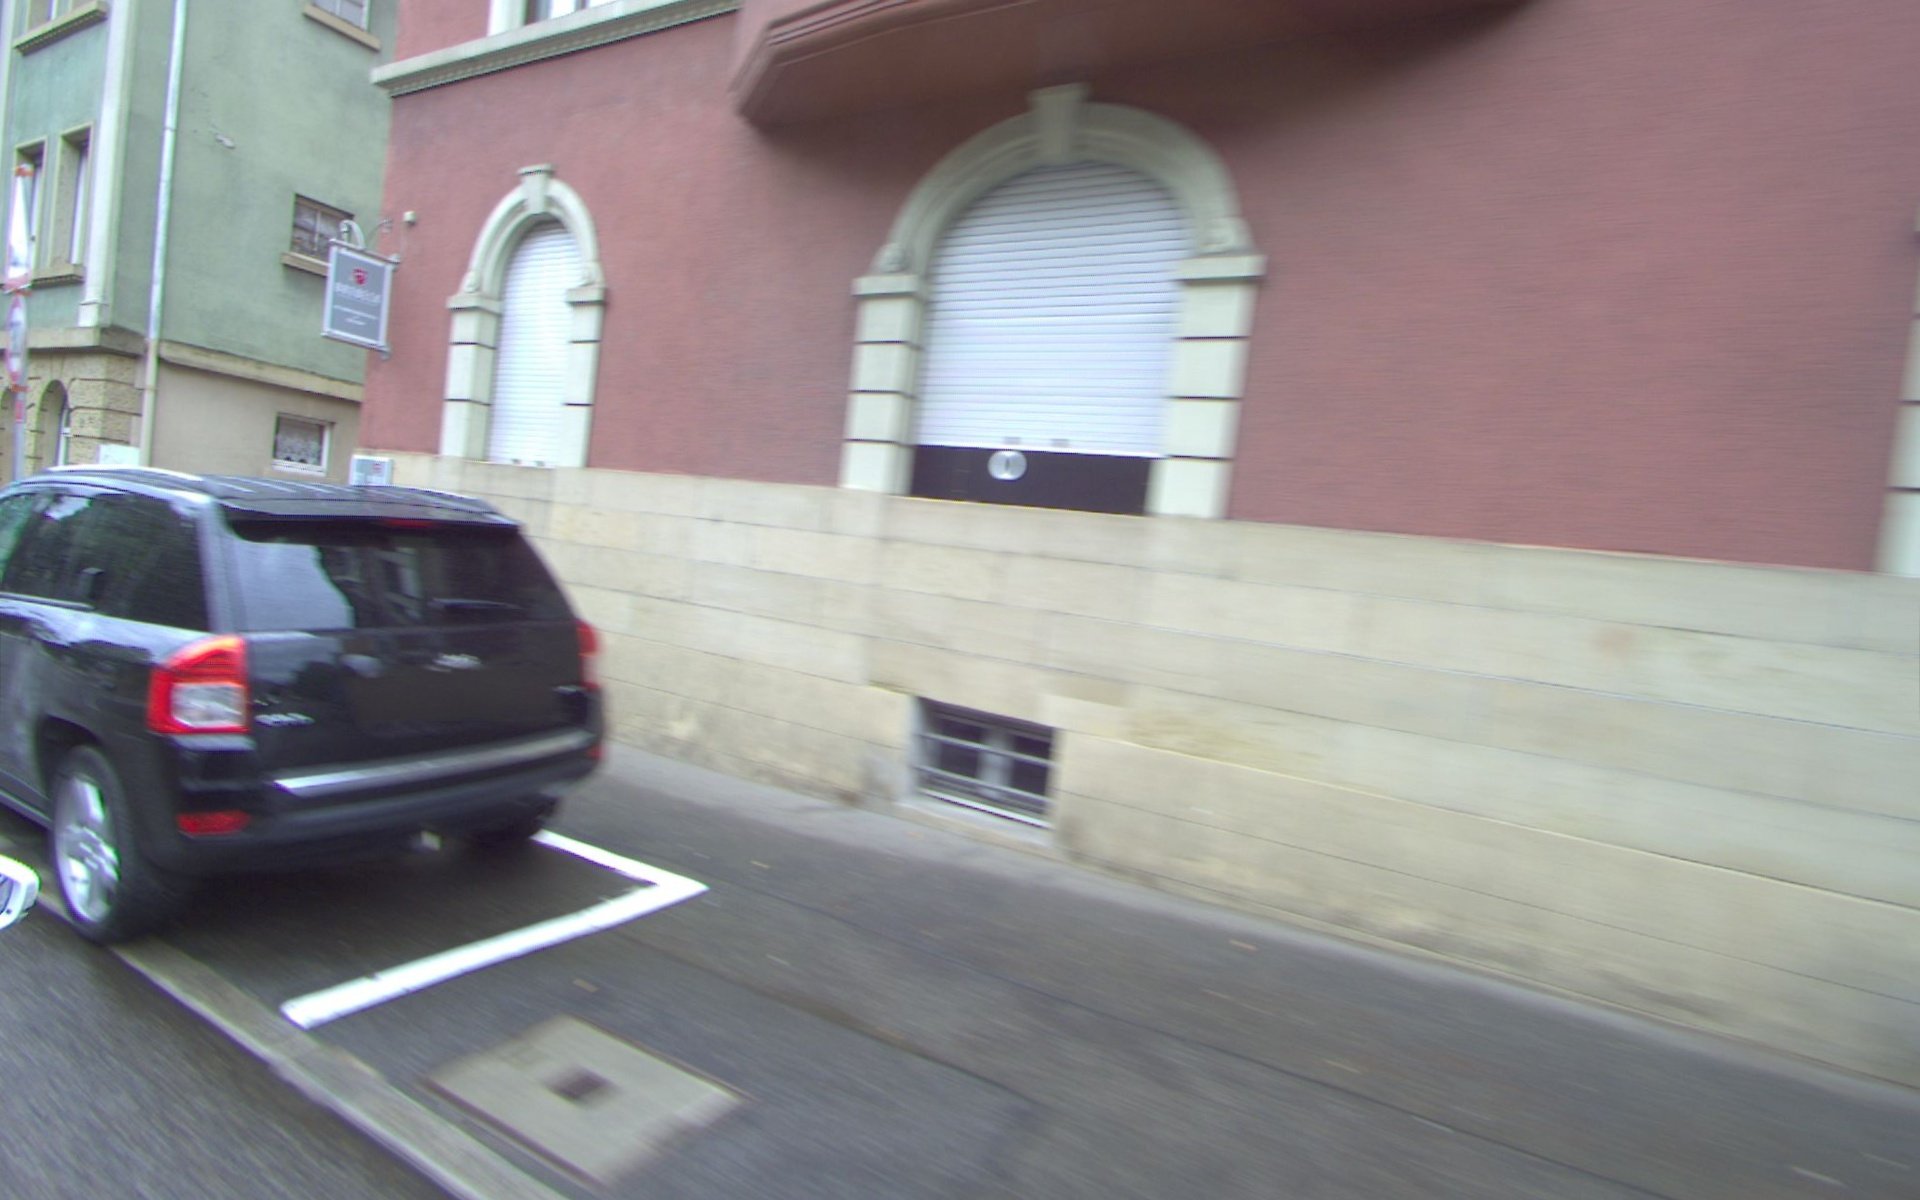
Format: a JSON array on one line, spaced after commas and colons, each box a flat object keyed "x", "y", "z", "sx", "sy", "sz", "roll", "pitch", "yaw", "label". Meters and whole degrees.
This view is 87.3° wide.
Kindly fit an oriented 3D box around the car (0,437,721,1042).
[{"x": -3.496, "y": 0.230, "z": 4.767, "sx": 4.621, "sy": 1.652, "sz": 1.875, "roll": 5, "pitch": 3, "yaw": 33, "label": "car"}]
